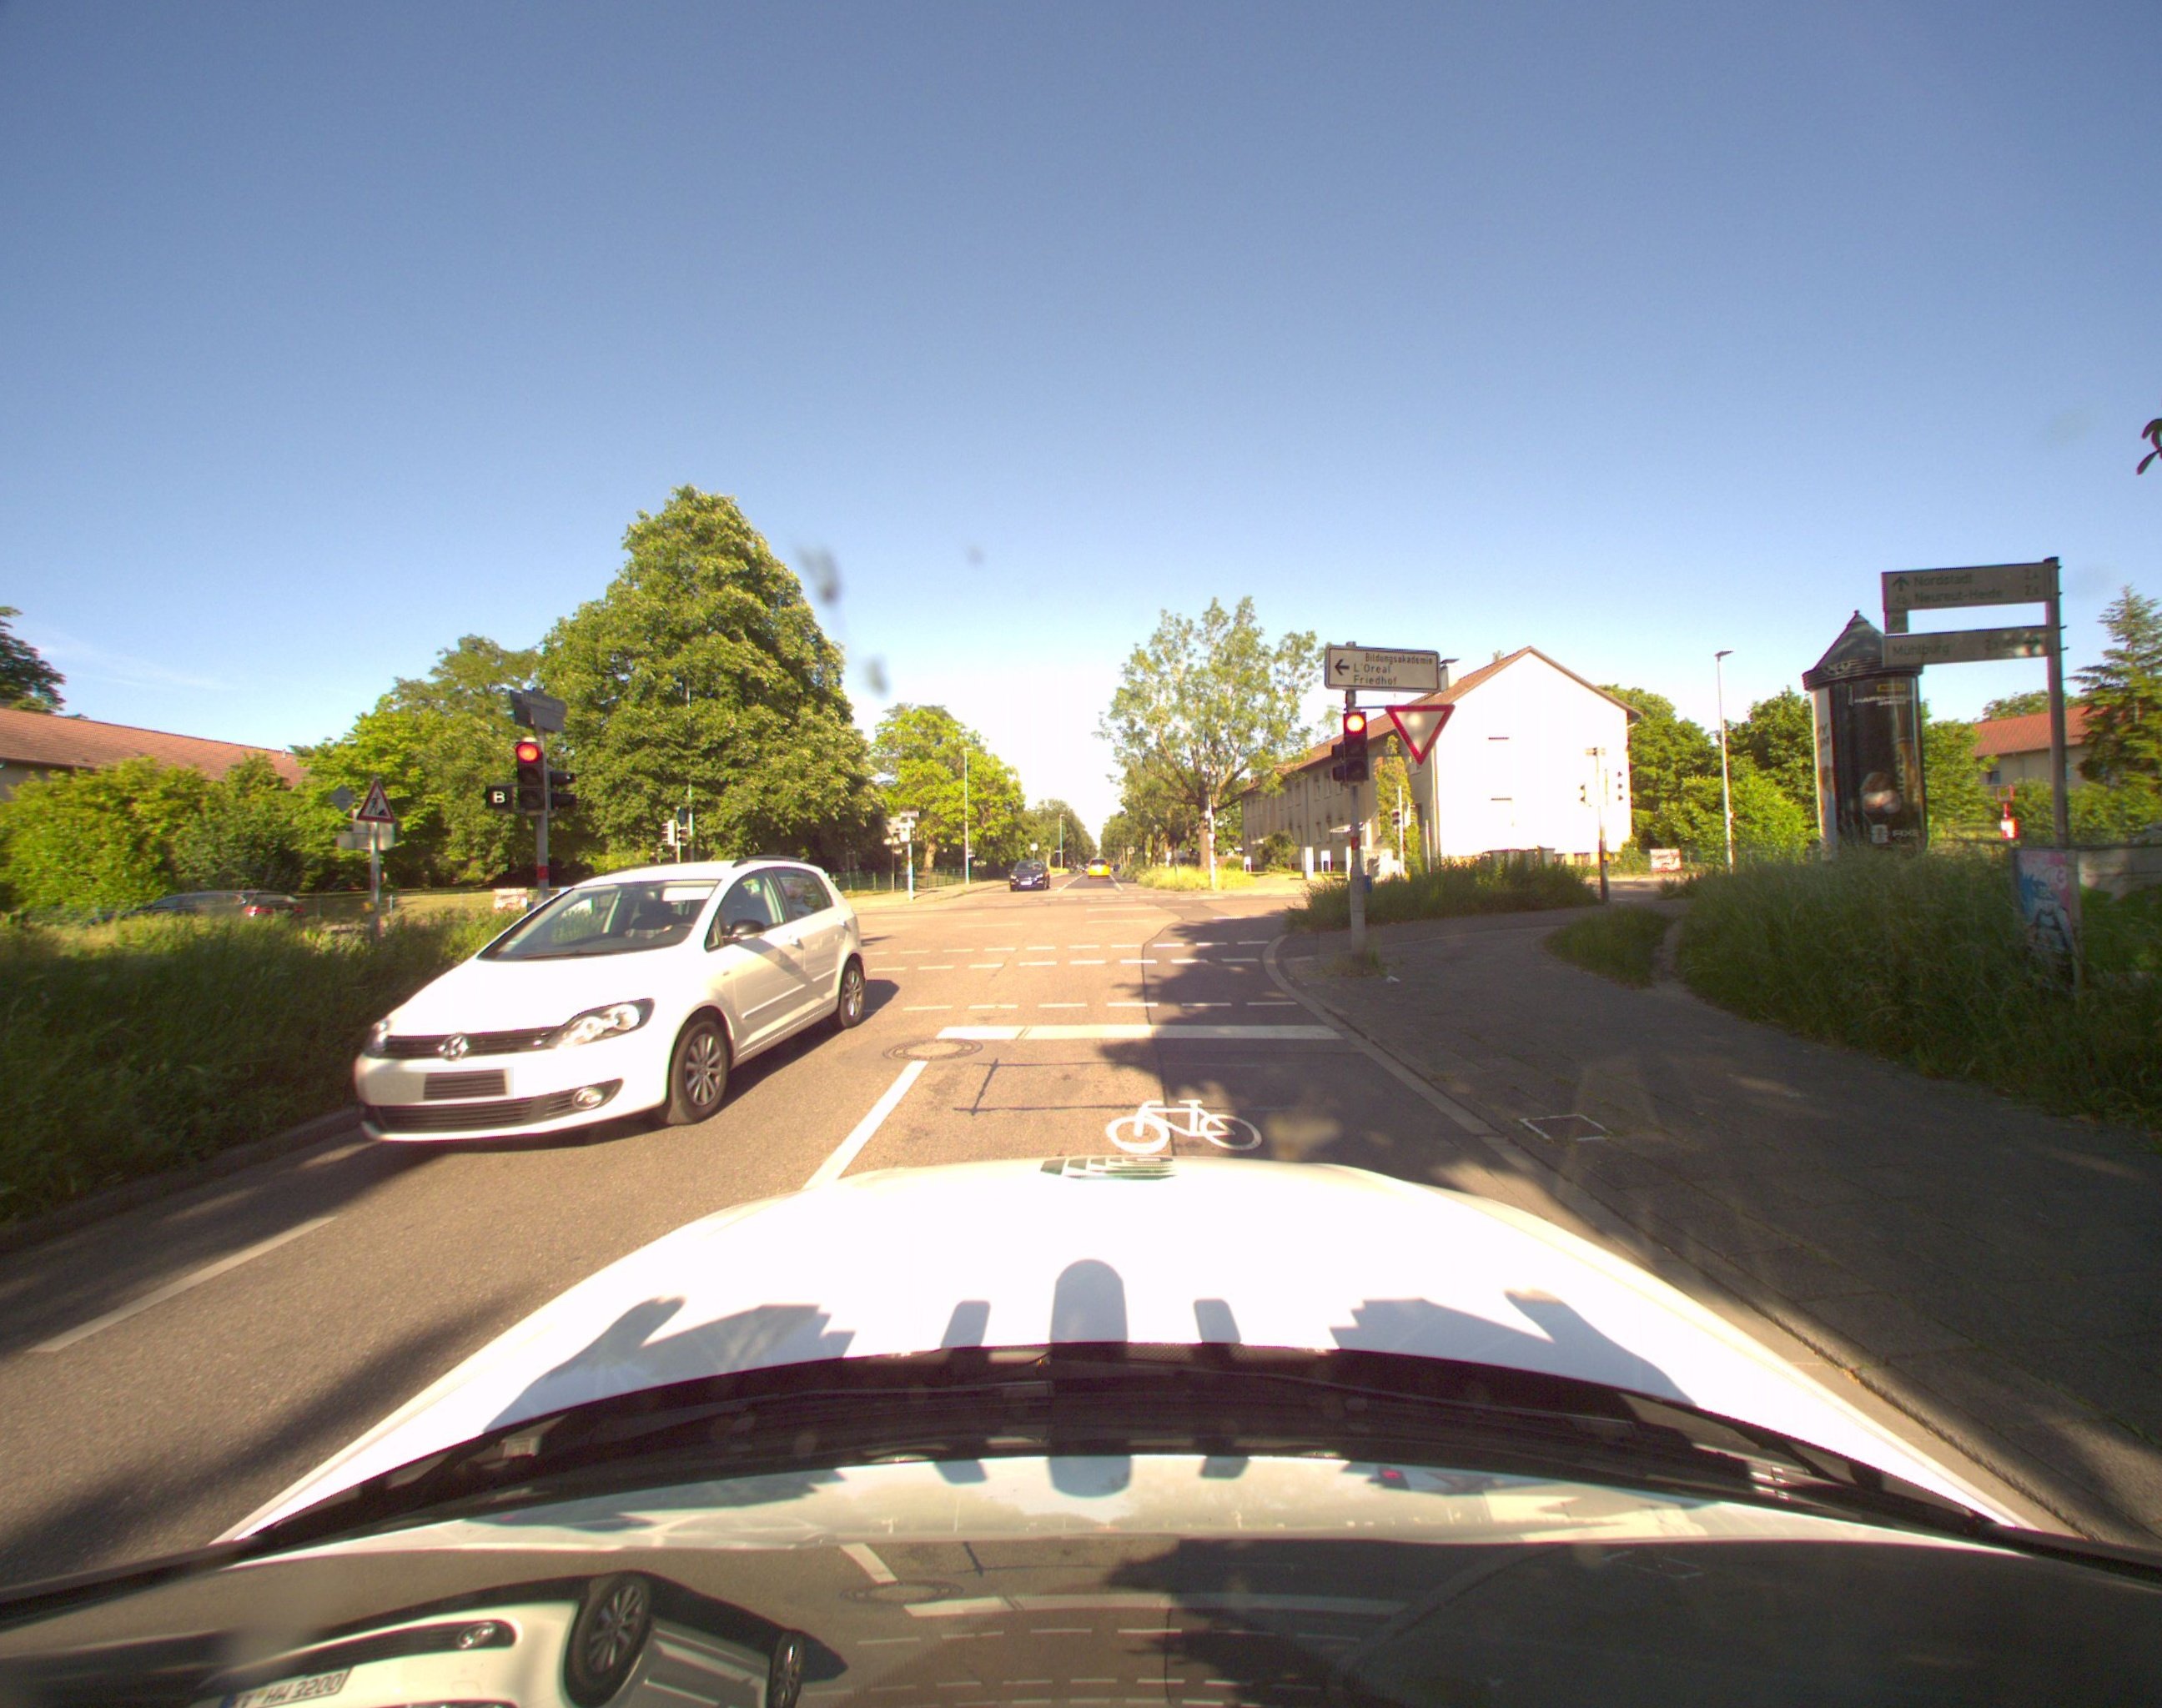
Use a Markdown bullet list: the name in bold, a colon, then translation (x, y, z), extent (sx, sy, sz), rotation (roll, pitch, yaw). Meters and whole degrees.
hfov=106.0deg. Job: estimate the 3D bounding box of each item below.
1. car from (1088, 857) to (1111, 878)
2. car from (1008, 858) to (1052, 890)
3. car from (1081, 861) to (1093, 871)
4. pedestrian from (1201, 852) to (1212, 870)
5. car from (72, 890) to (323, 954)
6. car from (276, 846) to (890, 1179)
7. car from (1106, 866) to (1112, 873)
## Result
- **car**: translation (1.464, 1.011, 63.570), extent (1.745, 1.582, 4.002), rotation (-1, -1, 2)
- **car**: translation (-2.380, 0.919, 38.817), extent (1.704, 1.385, 3.473), rotation (-2, 0, 3)
- **car**: translation (0.985, 1.998, 137.223), extent (1.751, 1.624, 3.271), rotation (-2, 0, 3)
- **pedestrian**: translation (10.593, 0.548, 68.662), extent (0.839, 1.493, 0.924), rotation (1, 0, 1)
- **car**: translation (-25.778, 1.949, 23.943), extent (4.725, 1.430, 1.994), rotation (-3, 0, -8)
- **car**: translation (-3.000, 0.782, 6.139), extent (1.744, 1.563, 4.125), rotation (-4, 0, 4)
- **car**: translation (7.550, 4.179, 219.280), extent (1.766, 1.754, 4.002), rotation (-1, -1, 2)
